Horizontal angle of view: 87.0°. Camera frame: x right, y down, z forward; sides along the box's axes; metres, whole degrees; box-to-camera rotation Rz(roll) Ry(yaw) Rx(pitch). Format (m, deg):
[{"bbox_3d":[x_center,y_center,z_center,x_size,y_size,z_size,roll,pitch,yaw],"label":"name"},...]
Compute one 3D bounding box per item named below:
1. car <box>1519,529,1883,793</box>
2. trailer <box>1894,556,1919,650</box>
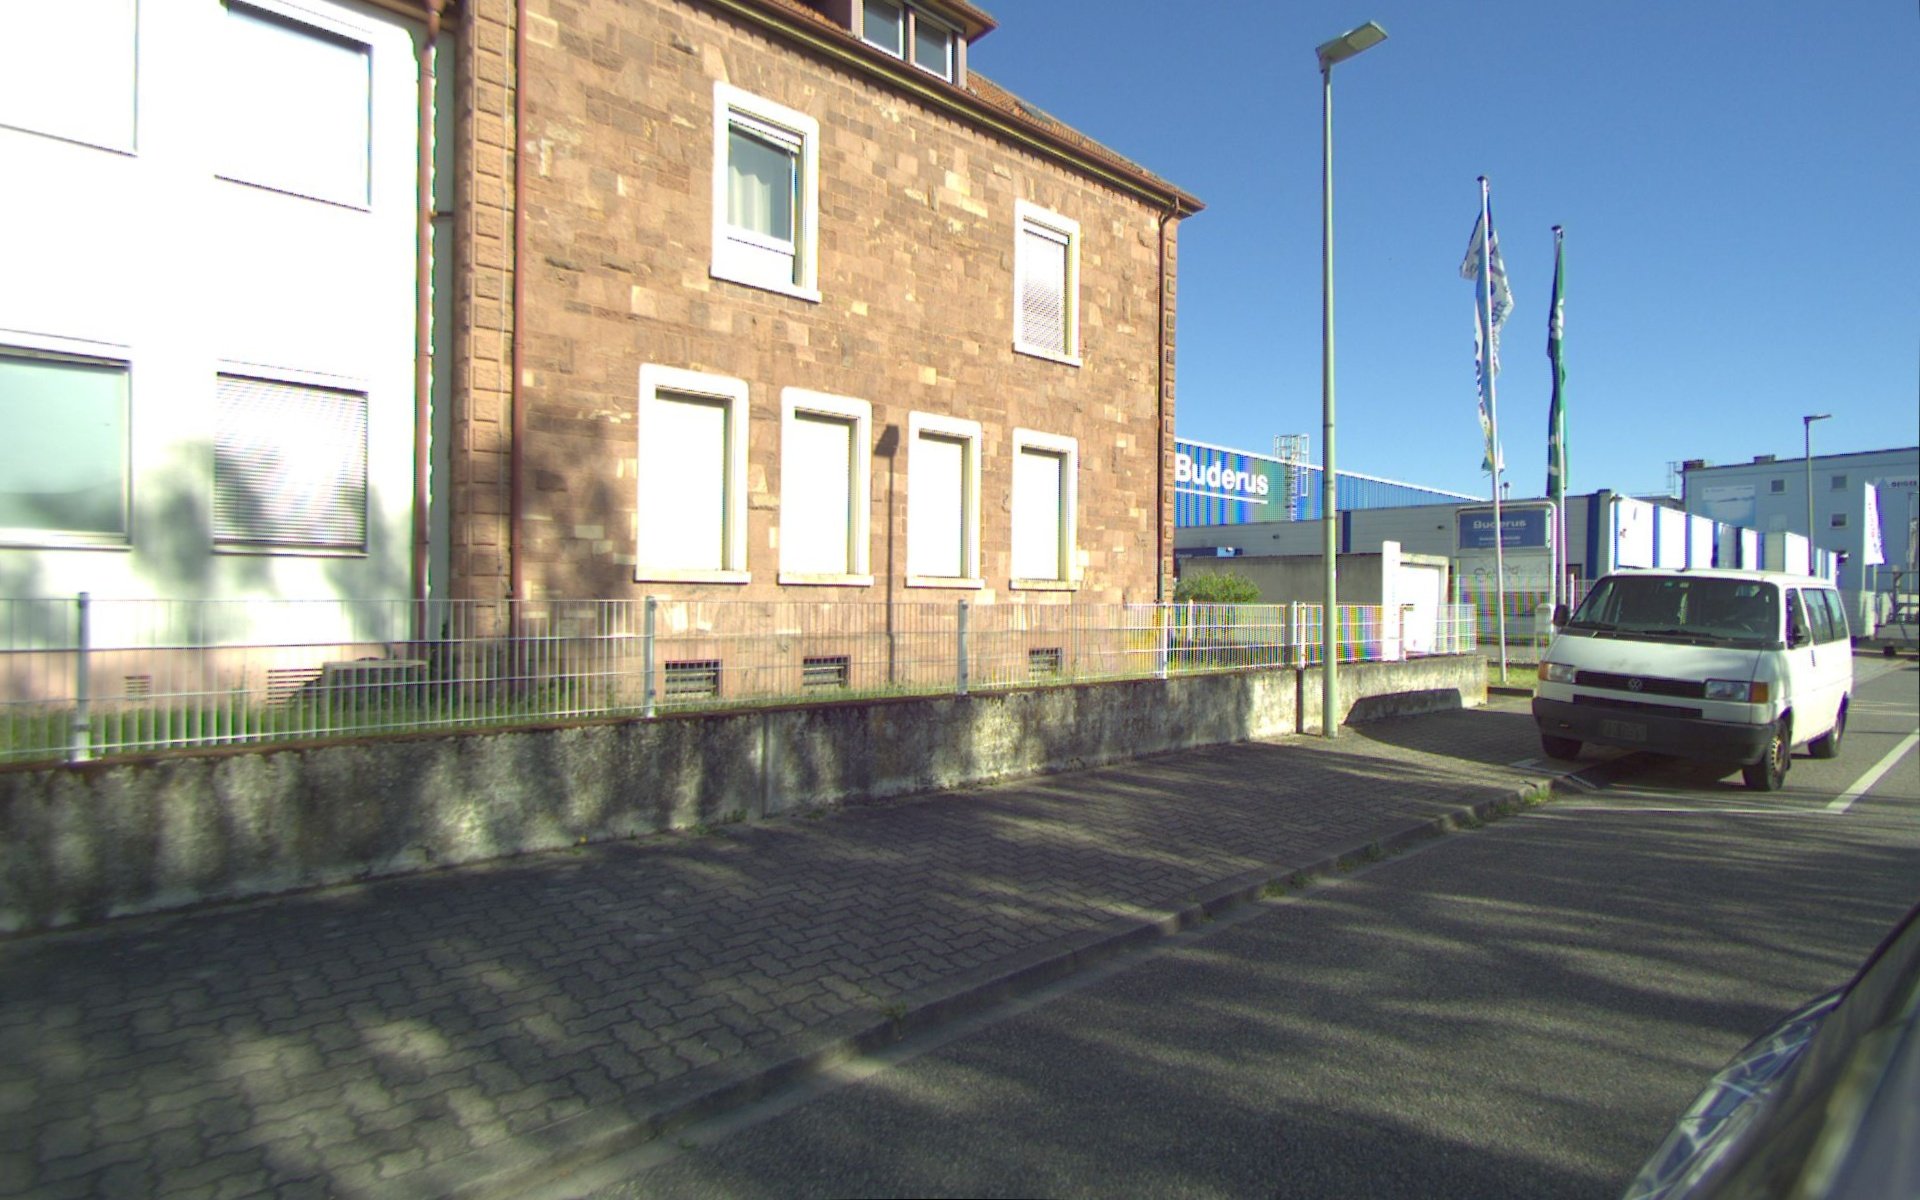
[{"bbox_3d":[7.520,0.522,10.080,4.632,2.040,1.848,0,-3,-41],"label":"car"},{"bbox_3d":[29.908,0.114,30.438,4.122,2.751,2.161,0,0,-40],"label":"trailer"}]
